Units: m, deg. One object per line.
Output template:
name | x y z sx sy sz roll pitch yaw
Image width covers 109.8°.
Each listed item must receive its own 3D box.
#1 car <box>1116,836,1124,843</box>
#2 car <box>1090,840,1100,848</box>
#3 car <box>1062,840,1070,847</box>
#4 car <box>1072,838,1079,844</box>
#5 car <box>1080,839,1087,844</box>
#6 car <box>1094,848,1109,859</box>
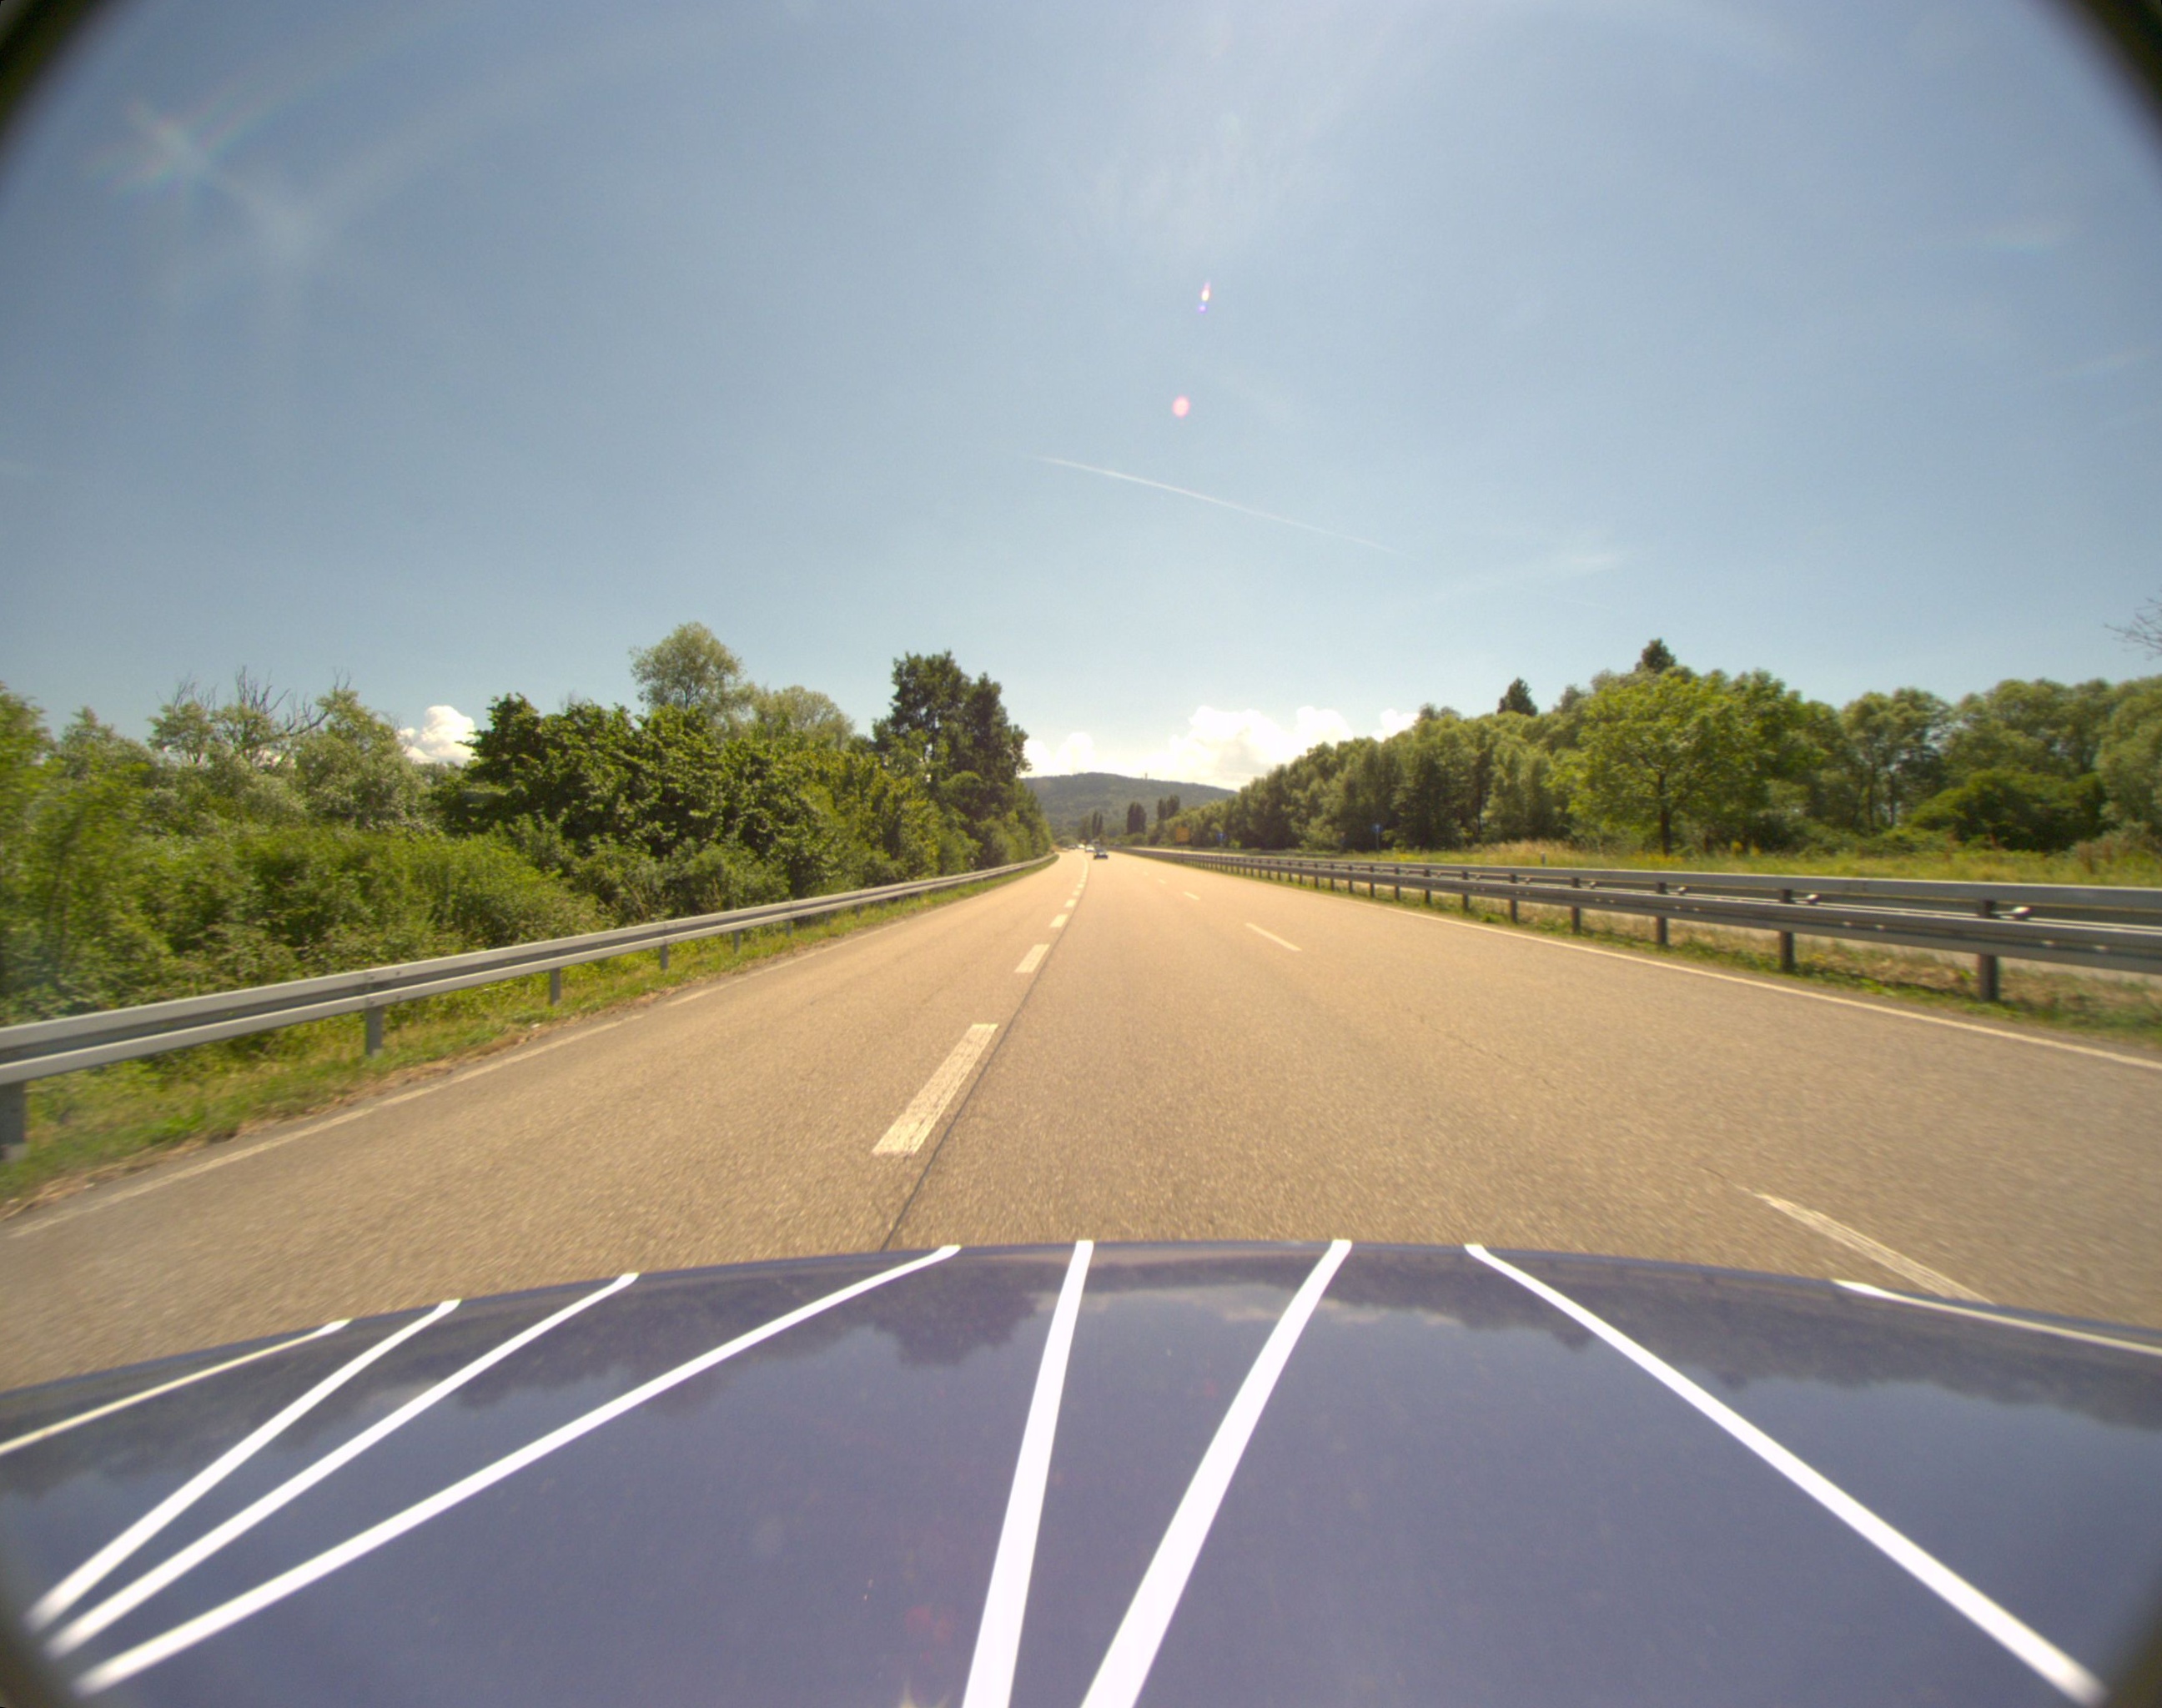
car | 10.041 -3.715 195.194 1.868 1.820 4.658 -2 1 0
car | 2.920 -2.047 161.626 1.998 1.630 4.000 -1 0 1
car | -3.525 -2.540 178.093 1.658 1.536 3.691 -2 1 3
car | -1.527 -3.547 212.527 1.658 1.536 3.691 -2 1 3
car | 0.783 -3.633 222.489 1.658 1.536 3.691 -2 1 3
car | 2.803 -0.105 104.906 1.908 1.368 3.890 -2 1 1
